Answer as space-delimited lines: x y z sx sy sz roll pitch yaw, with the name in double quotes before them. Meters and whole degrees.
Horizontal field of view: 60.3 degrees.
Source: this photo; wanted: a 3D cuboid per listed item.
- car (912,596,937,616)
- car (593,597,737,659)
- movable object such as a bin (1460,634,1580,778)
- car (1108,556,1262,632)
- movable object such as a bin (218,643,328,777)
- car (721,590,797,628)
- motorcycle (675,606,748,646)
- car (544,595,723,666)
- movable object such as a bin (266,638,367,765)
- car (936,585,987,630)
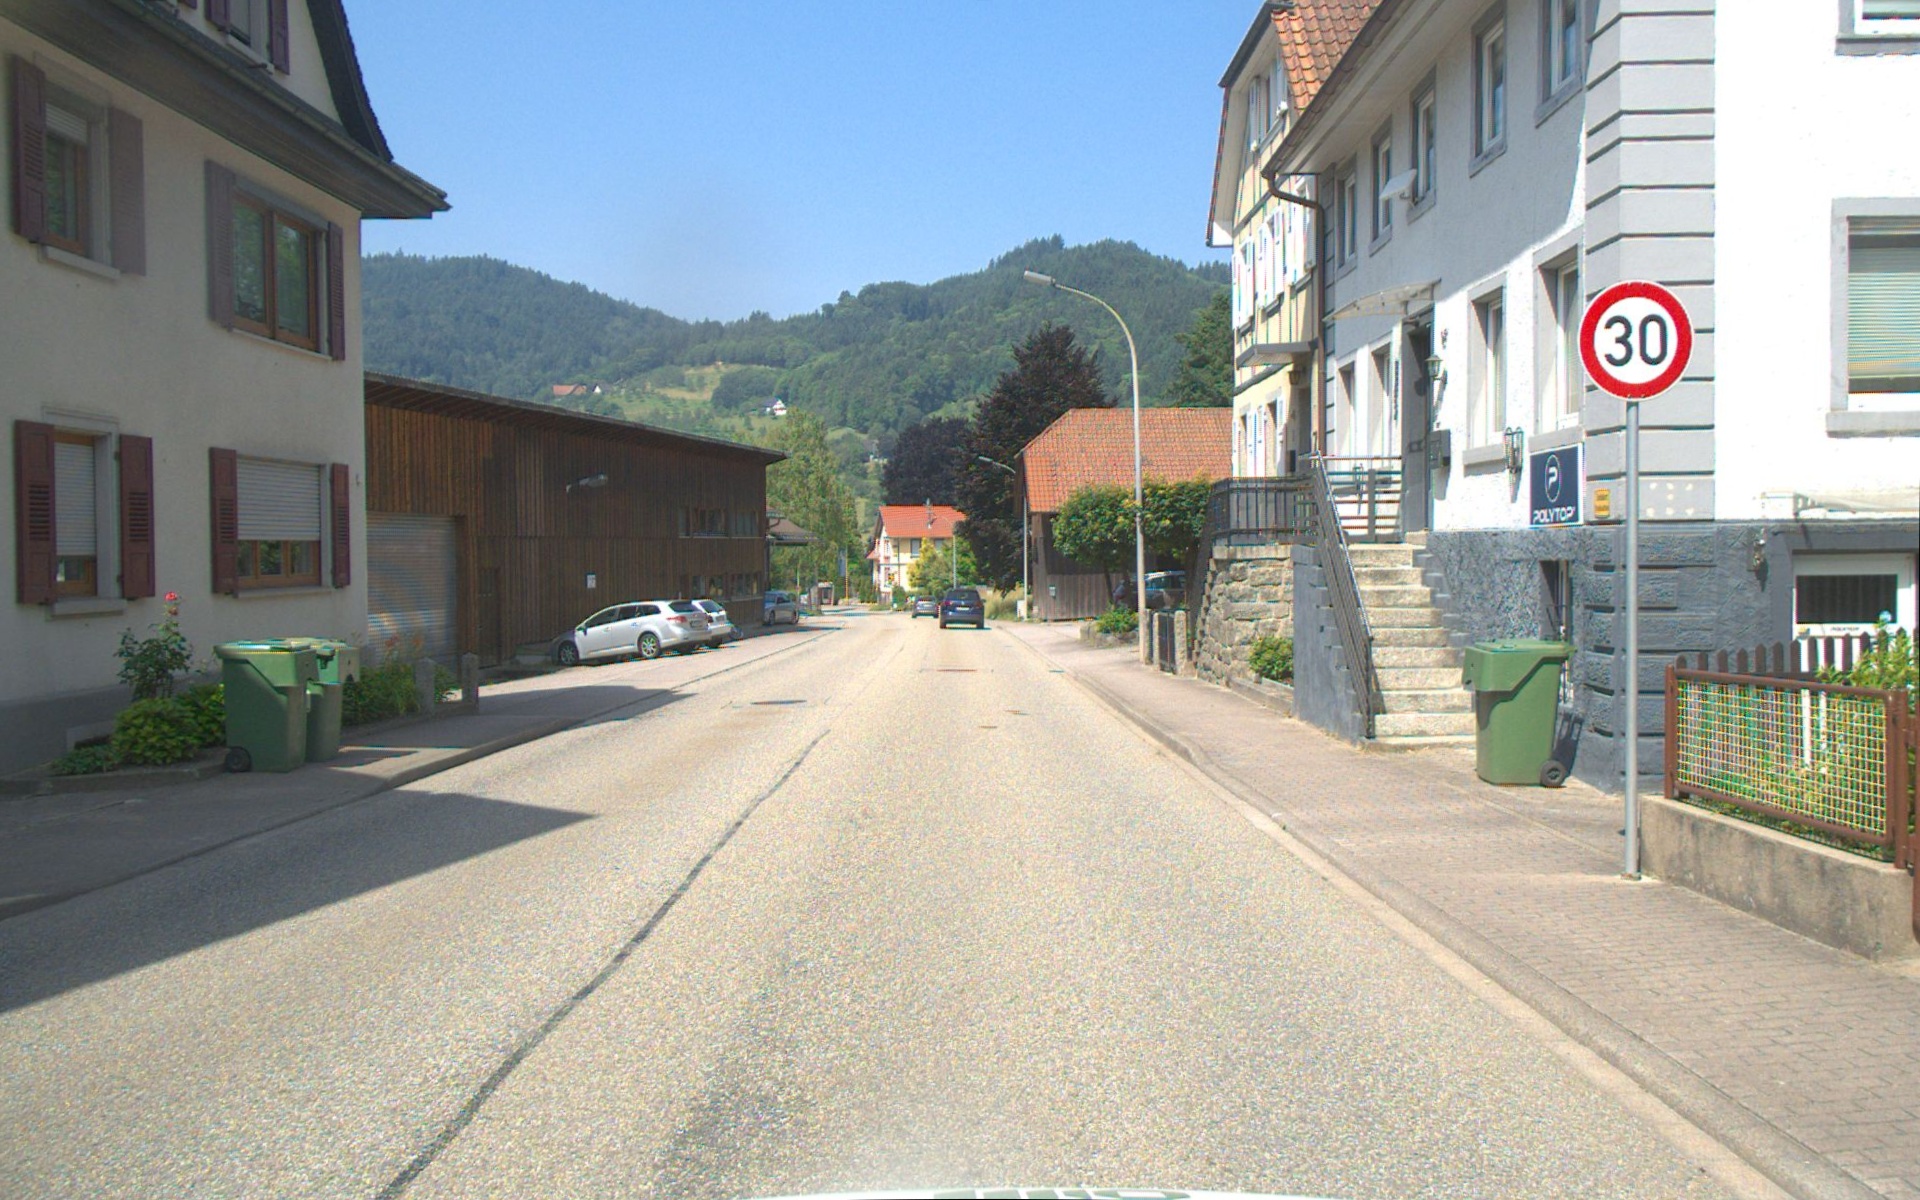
"car" -2.405 0.405 111.332 1.448 1.230 2.381 -2 0 -5
"car" -8.405 0.792 47.210 3.582 1.409 1.712 -5 -1 15
"movable object such as a bin" 4.258 0.796 12.611 0.690 1.038 0.618 -1 0 0
"car" 6.437 -0.181 47.691 4.134 1.716 1.777 -6 0 3
"movable object such as a bin" -5.851 0.926 14.110 0.662 1.085 0.653 -1 0 -2
"car" -8.554 0.368 70.922 1.692 1.479 4.809 0 1 13
"motorcycle" -8.680 0.904 57.751 2.357 1.286 0.744 -2 0 9
"car" -8.757 0.815 44.350 4.342 1.500 1.923 -5 0 25
"movable object such as a bin" -5.786 0.905 14.893 0.662 1.085 0.621 -1 0 -2
"car" 0.051 0.292 67.728 1.881 1.728 3.786 -2 0 -3
